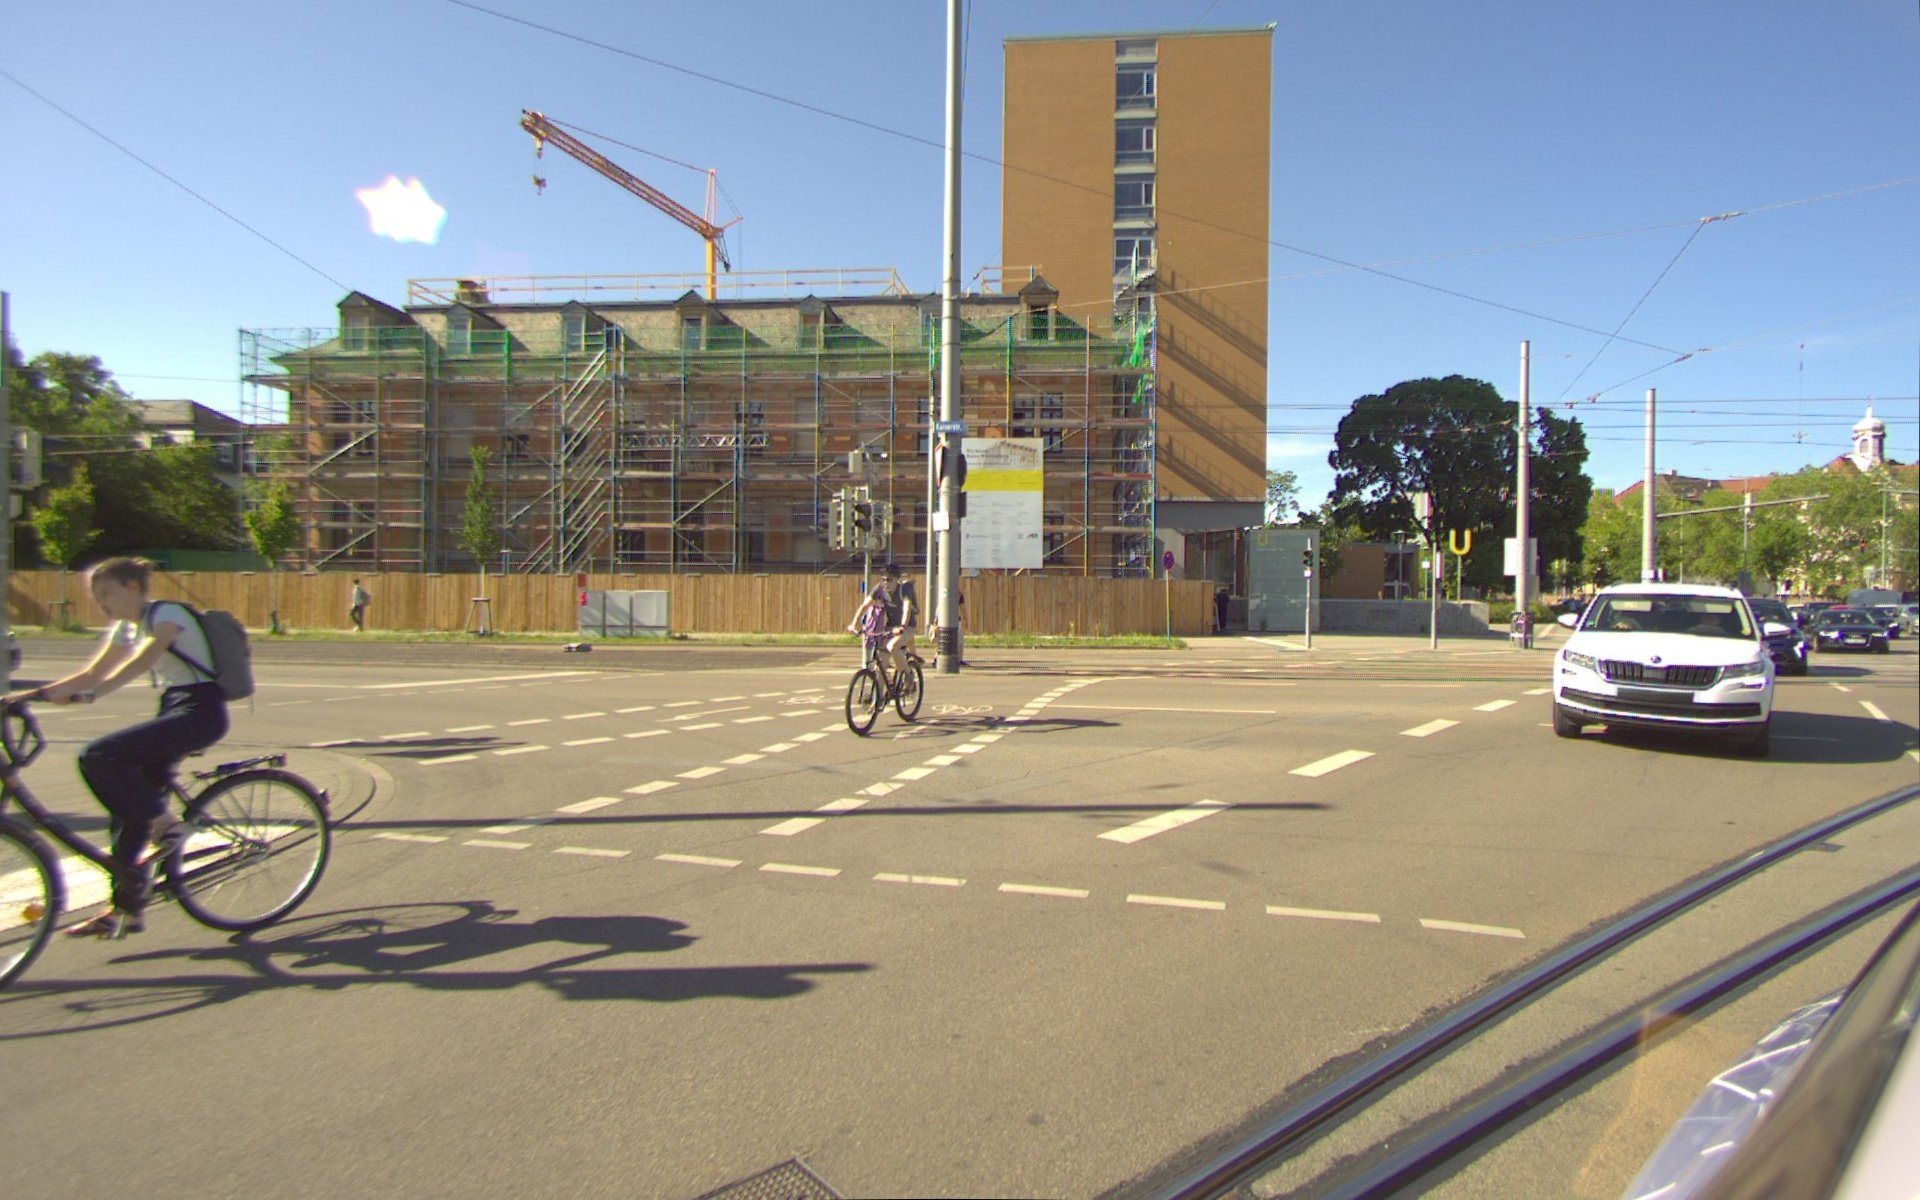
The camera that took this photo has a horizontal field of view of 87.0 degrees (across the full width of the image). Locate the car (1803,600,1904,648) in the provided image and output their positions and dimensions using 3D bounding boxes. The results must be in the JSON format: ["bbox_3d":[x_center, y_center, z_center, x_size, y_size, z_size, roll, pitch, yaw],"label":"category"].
[{"bbox_3d":[30.048,0.786,34.154,1.907,1.477,3.822,-1,0,32],"label":"car"}]

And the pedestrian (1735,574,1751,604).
[{"bbox_3d":[65.730,-0.905,84.960,0.868,2.466,0.880,-2,-1,30],"label":"pedestrian"}]

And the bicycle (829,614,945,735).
[{"bbox_3d":[-0.775,0.776,11.347,0.527,1.173,1.852,-1,1,22],"label":"bicycle"}]

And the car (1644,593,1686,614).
[{"bbox_3d":[51.877,0.233,74.543,1.904,1.477,4.623,-1,0,28],"label":"car"}]

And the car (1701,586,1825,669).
[{"bbox_3d":[17.579,0.536,22.328,1.875,1.651,3.962,-1,0,35],"label":"car"}]

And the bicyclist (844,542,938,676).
[{"bbox_3d":[-0.765,0.097,11.443,0.668,1.439,1.029,-1,-1,21],"label":"bicyclist"}]

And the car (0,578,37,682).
[{"bbox_3d":[-17.277,0.492,16.004,4.186,1.641,1.912,0,1,13],"label":"car"}]

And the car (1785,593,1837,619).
[{"bbox_3d":[52.315,0.362,62.299,1.746,1.474,4.077,-1,0,31],"label":"car"}]

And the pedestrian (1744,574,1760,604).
[{"bbox_3d":[65.489,-0.922,83.710,0.868,2.451,0.880,-2,-1,30],"label":"pedestrian"}]

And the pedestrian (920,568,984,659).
[{"bbox_3d":[-0.176,0.296,22.361,1.031,1.954,0.931,-1,-1,-44],"label":"pedestrian"}]

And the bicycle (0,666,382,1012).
[{"bbox_3d":[-3.464,0.906,4.176,0.528,1.131,1.916,-1,0,26],"label":"bicycle"}]

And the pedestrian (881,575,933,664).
[{"bbox_3d":[-1.091,0.395,20.857,0.810,1.779,0.659,-1,-1,-44],"label":"pedestrian"}]

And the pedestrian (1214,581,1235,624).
[{"bbox_3d":[11.382,0.112,43.541,0.765,1.810,0.828,-1,-1,12],"label":"pedestrian"}]

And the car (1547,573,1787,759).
[{"bbox_3d":[8.026,0.550,11.338,1.861,1.665,4.335,1,1,39],"label":"car"}]

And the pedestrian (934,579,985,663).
[{"bbox_3d":[-0.010,0.429,21.019,0.810,1.698,0.659,-1,-1,-44],"label":"pedestrian"}]

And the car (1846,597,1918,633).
[{"bbox_3d":[41.266,0.659,45.393,1.875,1.477,3.962,-1,0,35],"label":"car"}]

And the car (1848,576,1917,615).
[{"bbox_3d":[67.632,-0.301,74.310,2.221,2.715,5.259,-1,0,26],"label":"car"}]

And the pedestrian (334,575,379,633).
[{"bbox_3d":[-21.498,0.149,36.041,1.068,2.039,0.864,-1,-1,2],"label":"pedestrian"}]

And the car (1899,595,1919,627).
[{"bbox_3d":[47.738,0.520,49.523,1.812,1.477,4.606,-1,0,33],"label":"car"}]

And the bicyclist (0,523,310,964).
[{"bbox_3d":[-3.412,0.531,4.297,0.546,1.634,0.945,-1,-1,25],"label":"bicyclist"}]
